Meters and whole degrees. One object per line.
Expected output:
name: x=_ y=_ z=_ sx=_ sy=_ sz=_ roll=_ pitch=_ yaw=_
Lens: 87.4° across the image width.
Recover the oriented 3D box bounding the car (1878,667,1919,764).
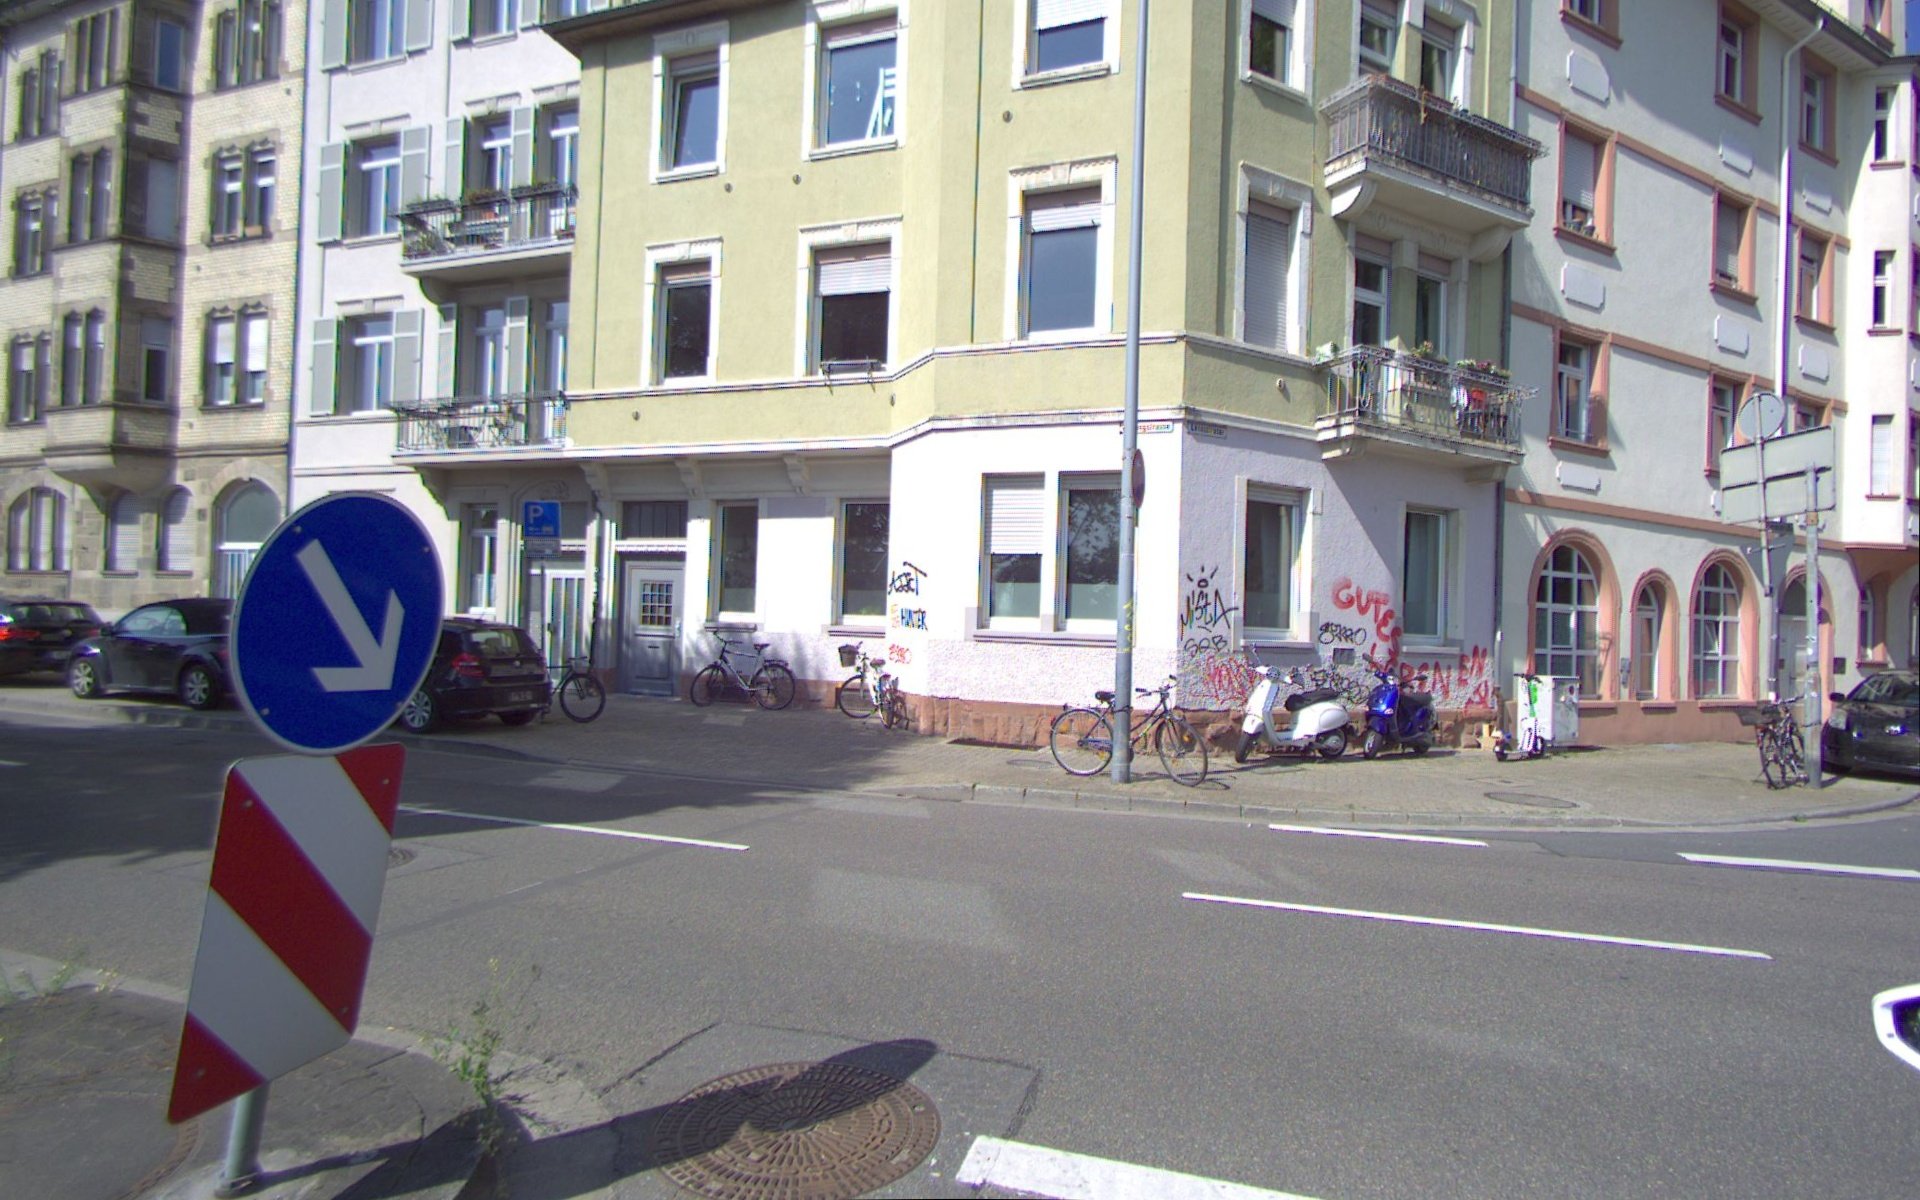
car: x=17.543 y=1.963 z=16.953 sx=4.017 sy=1.563 sz=1.972 roll=3 pitch=-3 yaw=-31

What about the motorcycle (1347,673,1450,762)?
motorcycle: x=5.812 y=1.540 z=13.283 sx=1.432 sy=1.109 sz=0.425 roll=3 pitch=0 yaw=-29

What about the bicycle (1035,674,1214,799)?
bicycle: x=1.670 y=1.348 z=10.162 sx=1.699 sy=1.102 sz=0.579 roll=1 pitch=-2 yaw=17

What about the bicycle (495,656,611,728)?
bicycle: x=-5.696 y=1.272 z=14.052 sx=1.549 sy=0.903 sz=0.449 roll=1 pitch=-1 yaw=17

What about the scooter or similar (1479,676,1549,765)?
scooter or similar: x=7.571 y=1.615 z=13.703 sx=1.435 sy=1.142 sz=0.271 roll=3 pitch=-1 yaw=-39

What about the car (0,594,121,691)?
car: x=-16.280 y=0.640 z=16.760 sx=4.045 sy=1.472 sz=1.648 roll=1 pitch=-2 yaw=20

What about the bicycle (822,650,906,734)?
bicycle: x=-1.382 y=1.260 z=14.192 sx=0.531 sy=1.060 sz=1.815 roll=2 pitch=-2 yaw=-27

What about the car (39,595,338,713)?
car: x=-11.478 y=0.738 z=14.961 sx=3.931 sy=1.521 sz=1.647 roll=1 pitch=0 yaw=20

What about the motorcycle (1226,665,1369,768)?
motorcycle: x=4.126 y=1.393 z=12.258 sx=1.739 sy=1.165 sz=0.471 roll=1 pitch=0 yaw=-22

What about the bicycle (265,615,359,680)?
bicycle: x=-12.481 y=0.902 z=19.355 sx=1.594 sy=1.161 sz=0.657 roll=2 pitch=0 yaw=18

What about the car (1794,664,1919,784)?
car: x=13.526 y=1.696 z=14.185 sx=3.732 sy=1.466 sz=1.809 roll=3 pitch=-2 yaw=-35

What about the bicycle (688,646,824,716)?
bicycle: x=-3.252 y=1.268 z=15.986 sx=2.072 sy=0.958 sz=0.609 roll=2 pitch=0 yaw=19

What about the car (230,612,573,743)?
car: x=-7.382 y=0.939 z=13.318 sx=4.000 sy=1.435 sz=1.746 roll=1 pitch=0 yaw=20

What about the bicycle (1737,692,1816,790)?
bicycle: x=10.166 y=1.709 z=12.482 sx=0.618 sy=1.047 sz=1.872 roll=0 pitch=-2 yaw=44
